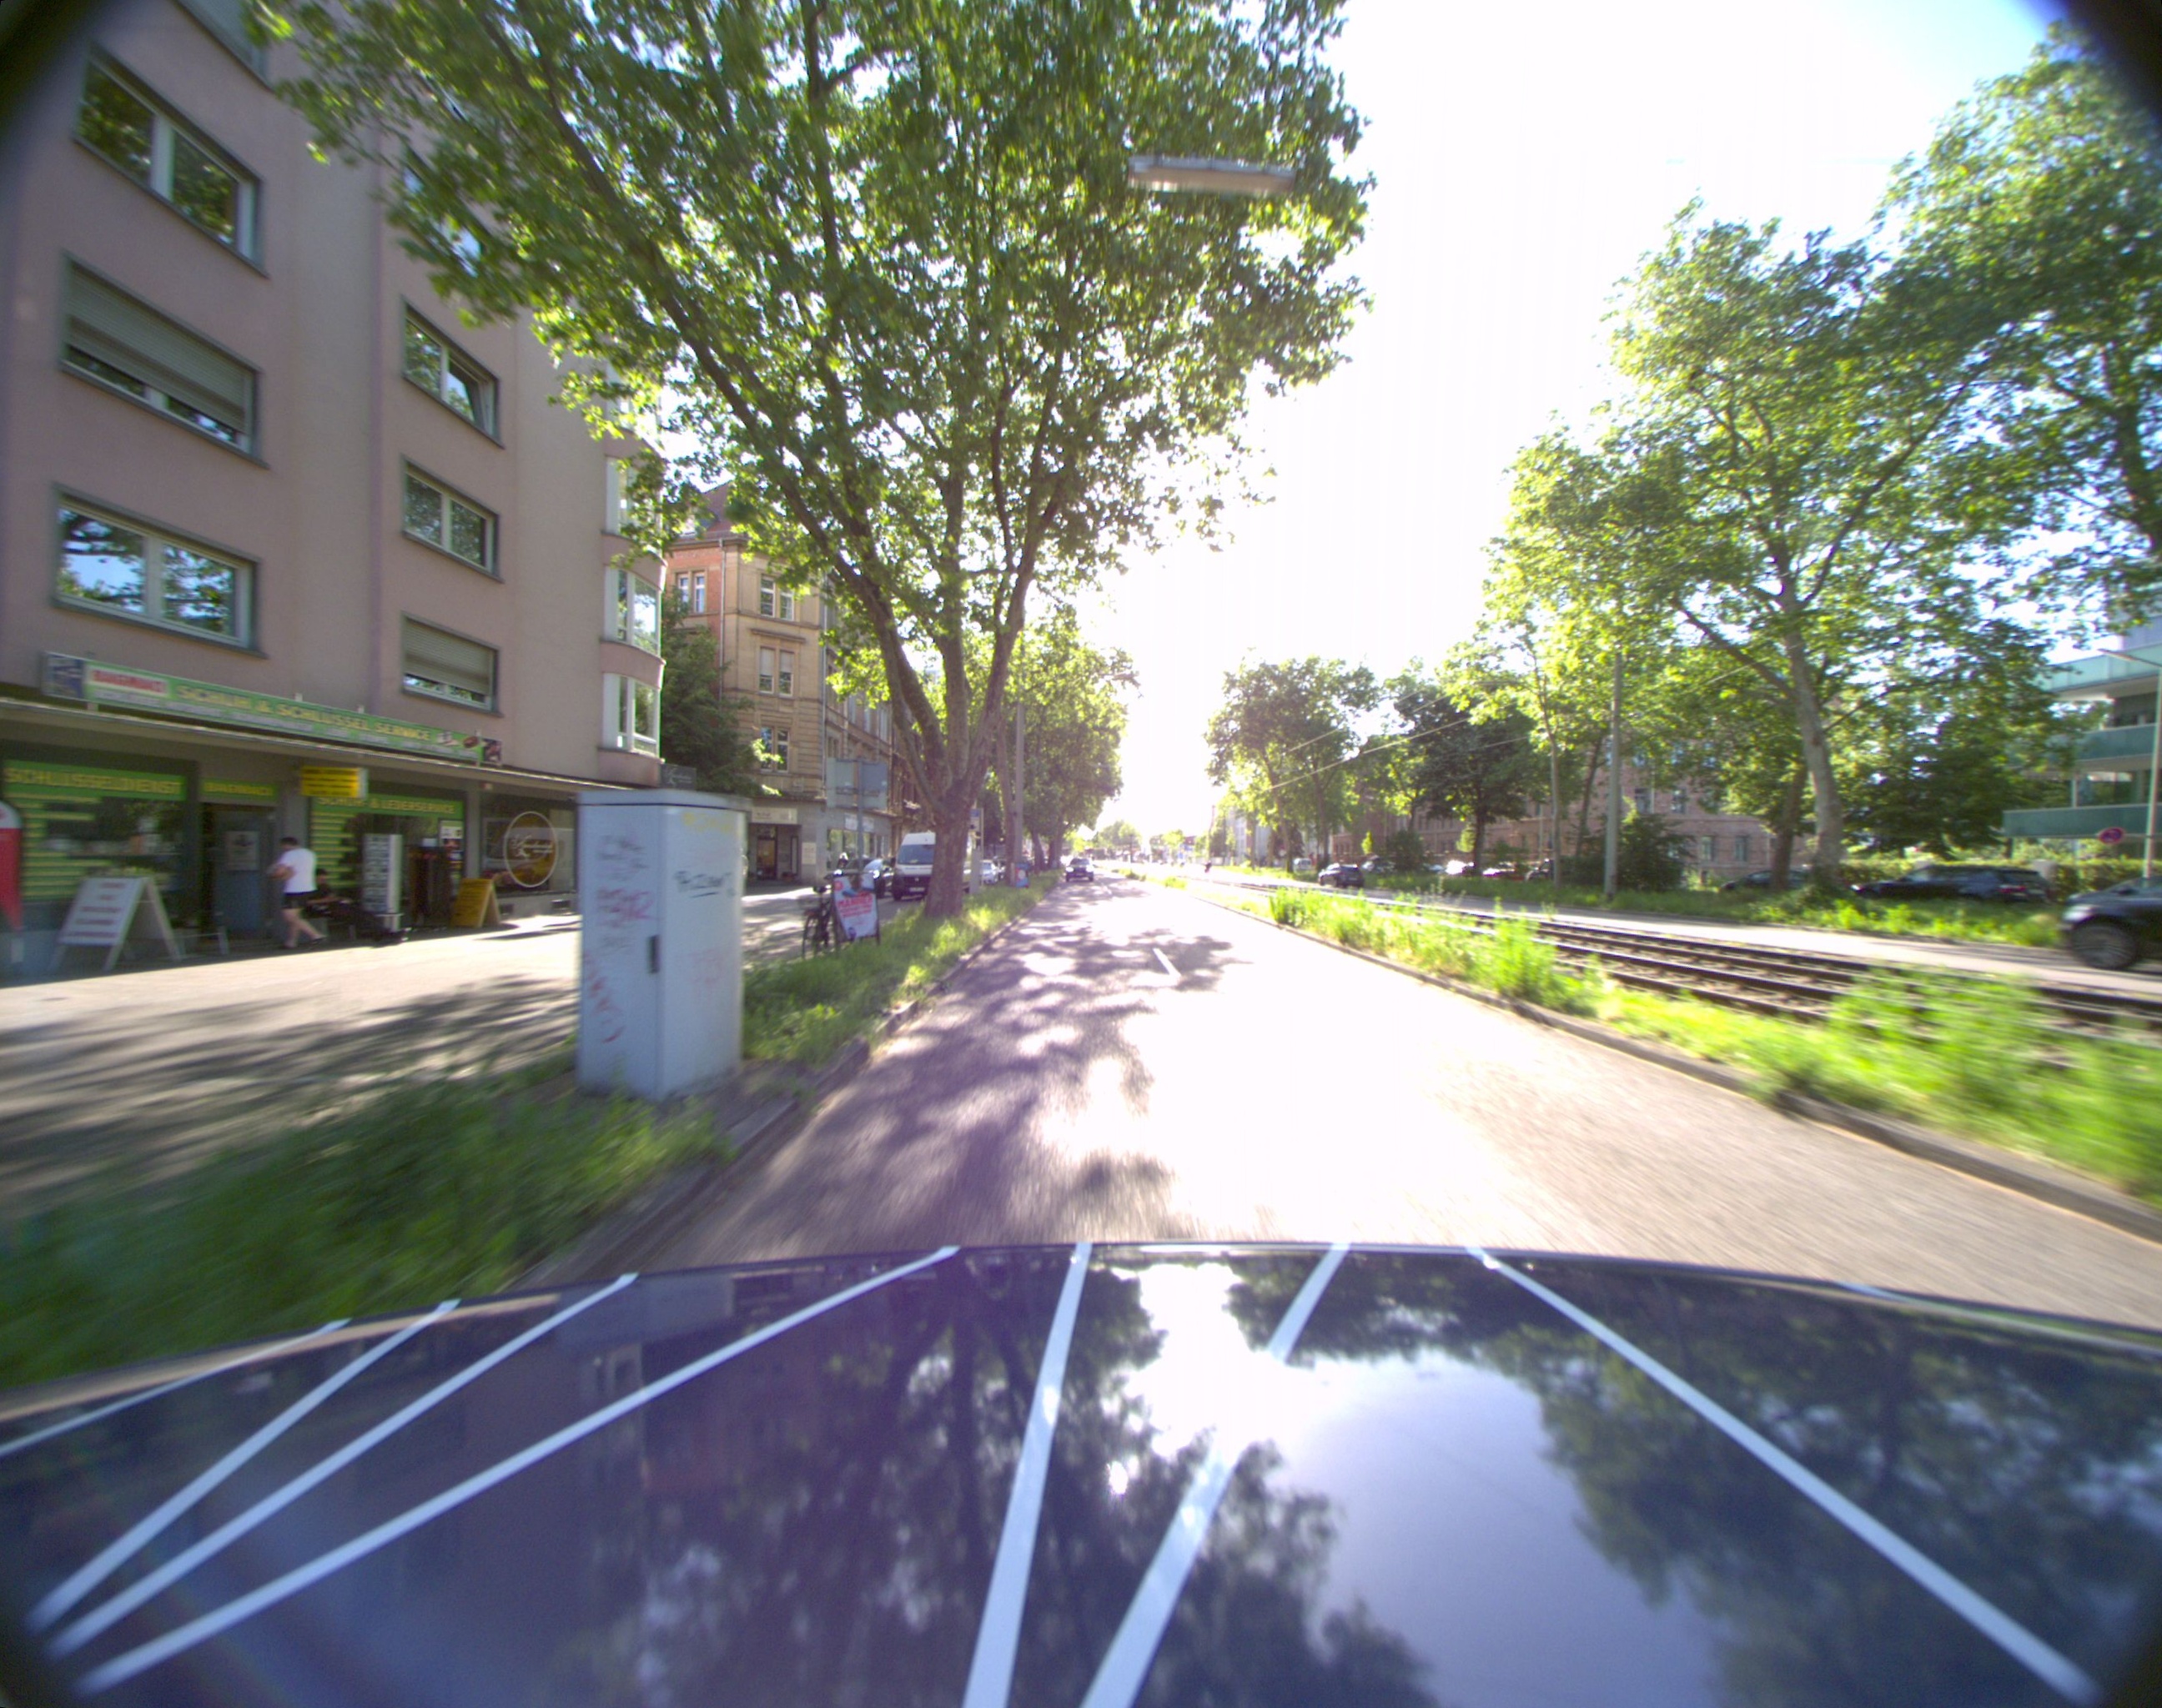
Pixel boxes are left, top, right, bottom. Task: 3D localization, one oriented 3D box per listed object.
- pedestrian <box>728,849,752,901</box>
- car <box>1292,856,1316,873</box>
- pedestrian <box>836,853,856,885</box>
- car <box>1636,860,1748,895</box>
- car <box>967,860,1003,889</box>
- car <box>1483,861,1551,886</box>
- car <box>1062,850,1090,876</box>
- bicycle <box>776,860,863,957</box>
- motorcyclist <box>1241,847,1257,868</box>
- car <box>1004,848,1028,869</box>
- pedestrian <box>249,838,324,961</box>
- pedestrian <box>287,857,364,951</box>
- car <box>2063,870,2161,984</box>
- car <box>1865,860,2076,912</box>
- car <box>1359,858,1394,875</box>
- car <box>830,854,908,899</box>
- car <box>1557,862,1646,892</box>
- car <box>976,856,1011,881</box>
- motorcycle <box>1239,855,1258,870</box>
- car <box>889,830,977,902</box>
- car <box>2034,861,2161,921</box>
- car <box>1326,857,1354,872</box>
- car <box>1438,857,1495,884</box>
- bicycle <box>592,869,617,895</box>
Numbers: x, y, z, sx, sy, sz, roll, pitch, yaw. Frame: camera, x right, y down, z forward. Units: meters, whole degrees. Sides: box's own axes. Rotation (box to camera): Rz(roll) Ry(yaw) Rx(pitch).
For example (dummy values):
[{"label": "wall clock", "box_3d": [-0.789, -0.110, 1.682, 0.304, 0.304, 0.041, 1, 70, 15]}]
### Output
[{"label": "pedestrian", "box_3d": [-11.958, 0.742, 26.649, 0.615, 1.805, 0.630, 1, 0, -9]}, {"label": "car", "box_3d": [26.709, 1.205, 91.110, 1.998, 2.002, 4.001, 1, 0, 4]}, {"label": "pedestrian", "box_3d": [-11.524, 0.718, 37.213, 0.738, 1.556, 0.731, 1, 0, 1]}, {"label": "car", "box_3d": [28.142, 1.040, 35.176, 1.998, 1.477, 4.000, 1, 0, 1]}, {"label": "car", "box_3d": [-5.268, 1.091, 42.123, 1.649, 1.503, 4.188, 0, 0, -2]}, {"label": "car", "box_3d": [27.329, 1.181, 47.786, 1.998, 1.477, 4.000, 1, 0, 1]}, {"label": "car", "box_3d": [-0.333, 0.622, 54.174, 1.877, 1.788, 4.633, 1, 0, 1]}, {"label": "bicycle", "box_3d": [-3.552, 0.696, 10.455, 0.466, 1.206, 1.751, 1, 0, 4]}, {"label": "motorcyclist", "box_3d": [23.660, 0.516, 107.041, 1.747, 2.905, 1.680, 1, 0, 1]}, {"label": "car", "box_3d": [-5.624, 0.407, 65.795, 1.714, 1.732, 3.927, 0, 0, 1]}, {"label": "pedestrian", "box_3d": [-11.700, 0.658, 11.202, 0.418, 1.744, 0.581, 3, 0, 1]}, {"label": "pedestrian", "box_3d": [-11.972, 0.780, 12.054, 0.698, 1.461, 0.516, 1, 0, 0]}, {"label": "car", "box_3d": [16.737, 1.116, 9.959, 1.862, 1.637, 4.460, 2, 0, -1]}, {"label": "car", "box_3d": [27.841, 0.940, 24.024, 1.998, 1.477, 4.000, 1, 0, 1]}, {"label": "car", "box_3d": [27.011, 1.141, 69.595, 1.771, 1.477, 3.688, 1, 0, 1]}, {"label": "car", "box_3d": [-8.013, 0.814, 29.147, 1.815, 1.592, 4.136, 0, 0, 0]}, {"label": "car", "box_3d": [27.507, 1.172, 40.309, 1.998, 1.477, 4.000, 1, 0, 1]}, {"label": "car", "box_3d": [-5.542, 0.885, 48.298, 1.752, 1.455, 4.000, 1, 0, 0]}, {"label": "motorcycle", "box_3d": [23.596, 1.166, 106.942, 1.729, 2.045, 3.999, 1, 0, -1]}, {"label": "car", "box_3d": [-5.376, 0.400, 28.517, 2.079, 2.420, 5.856, 0, 0, 1]}, {"label": "car", "box_3d": [27.500, 0.919, 19.204, 1.801, 1.464, 4.000, 1, 0, 0]}, {"label": "car", "box_3d": [26.981, 1.052, 79.239, 1.771, 1.477, 3.688, 1, 0, 1]}, {"label": "car", "box_3d": [27.205, 1.131, 53.750, 1.998, 1.838, 4.000, 1, 0, 1]}, {"label": "bicycle", "box_3d": [-19.648, 1.148, 31.370, 0.543, 0.999, 1.901, 1, 0, -22]}]
